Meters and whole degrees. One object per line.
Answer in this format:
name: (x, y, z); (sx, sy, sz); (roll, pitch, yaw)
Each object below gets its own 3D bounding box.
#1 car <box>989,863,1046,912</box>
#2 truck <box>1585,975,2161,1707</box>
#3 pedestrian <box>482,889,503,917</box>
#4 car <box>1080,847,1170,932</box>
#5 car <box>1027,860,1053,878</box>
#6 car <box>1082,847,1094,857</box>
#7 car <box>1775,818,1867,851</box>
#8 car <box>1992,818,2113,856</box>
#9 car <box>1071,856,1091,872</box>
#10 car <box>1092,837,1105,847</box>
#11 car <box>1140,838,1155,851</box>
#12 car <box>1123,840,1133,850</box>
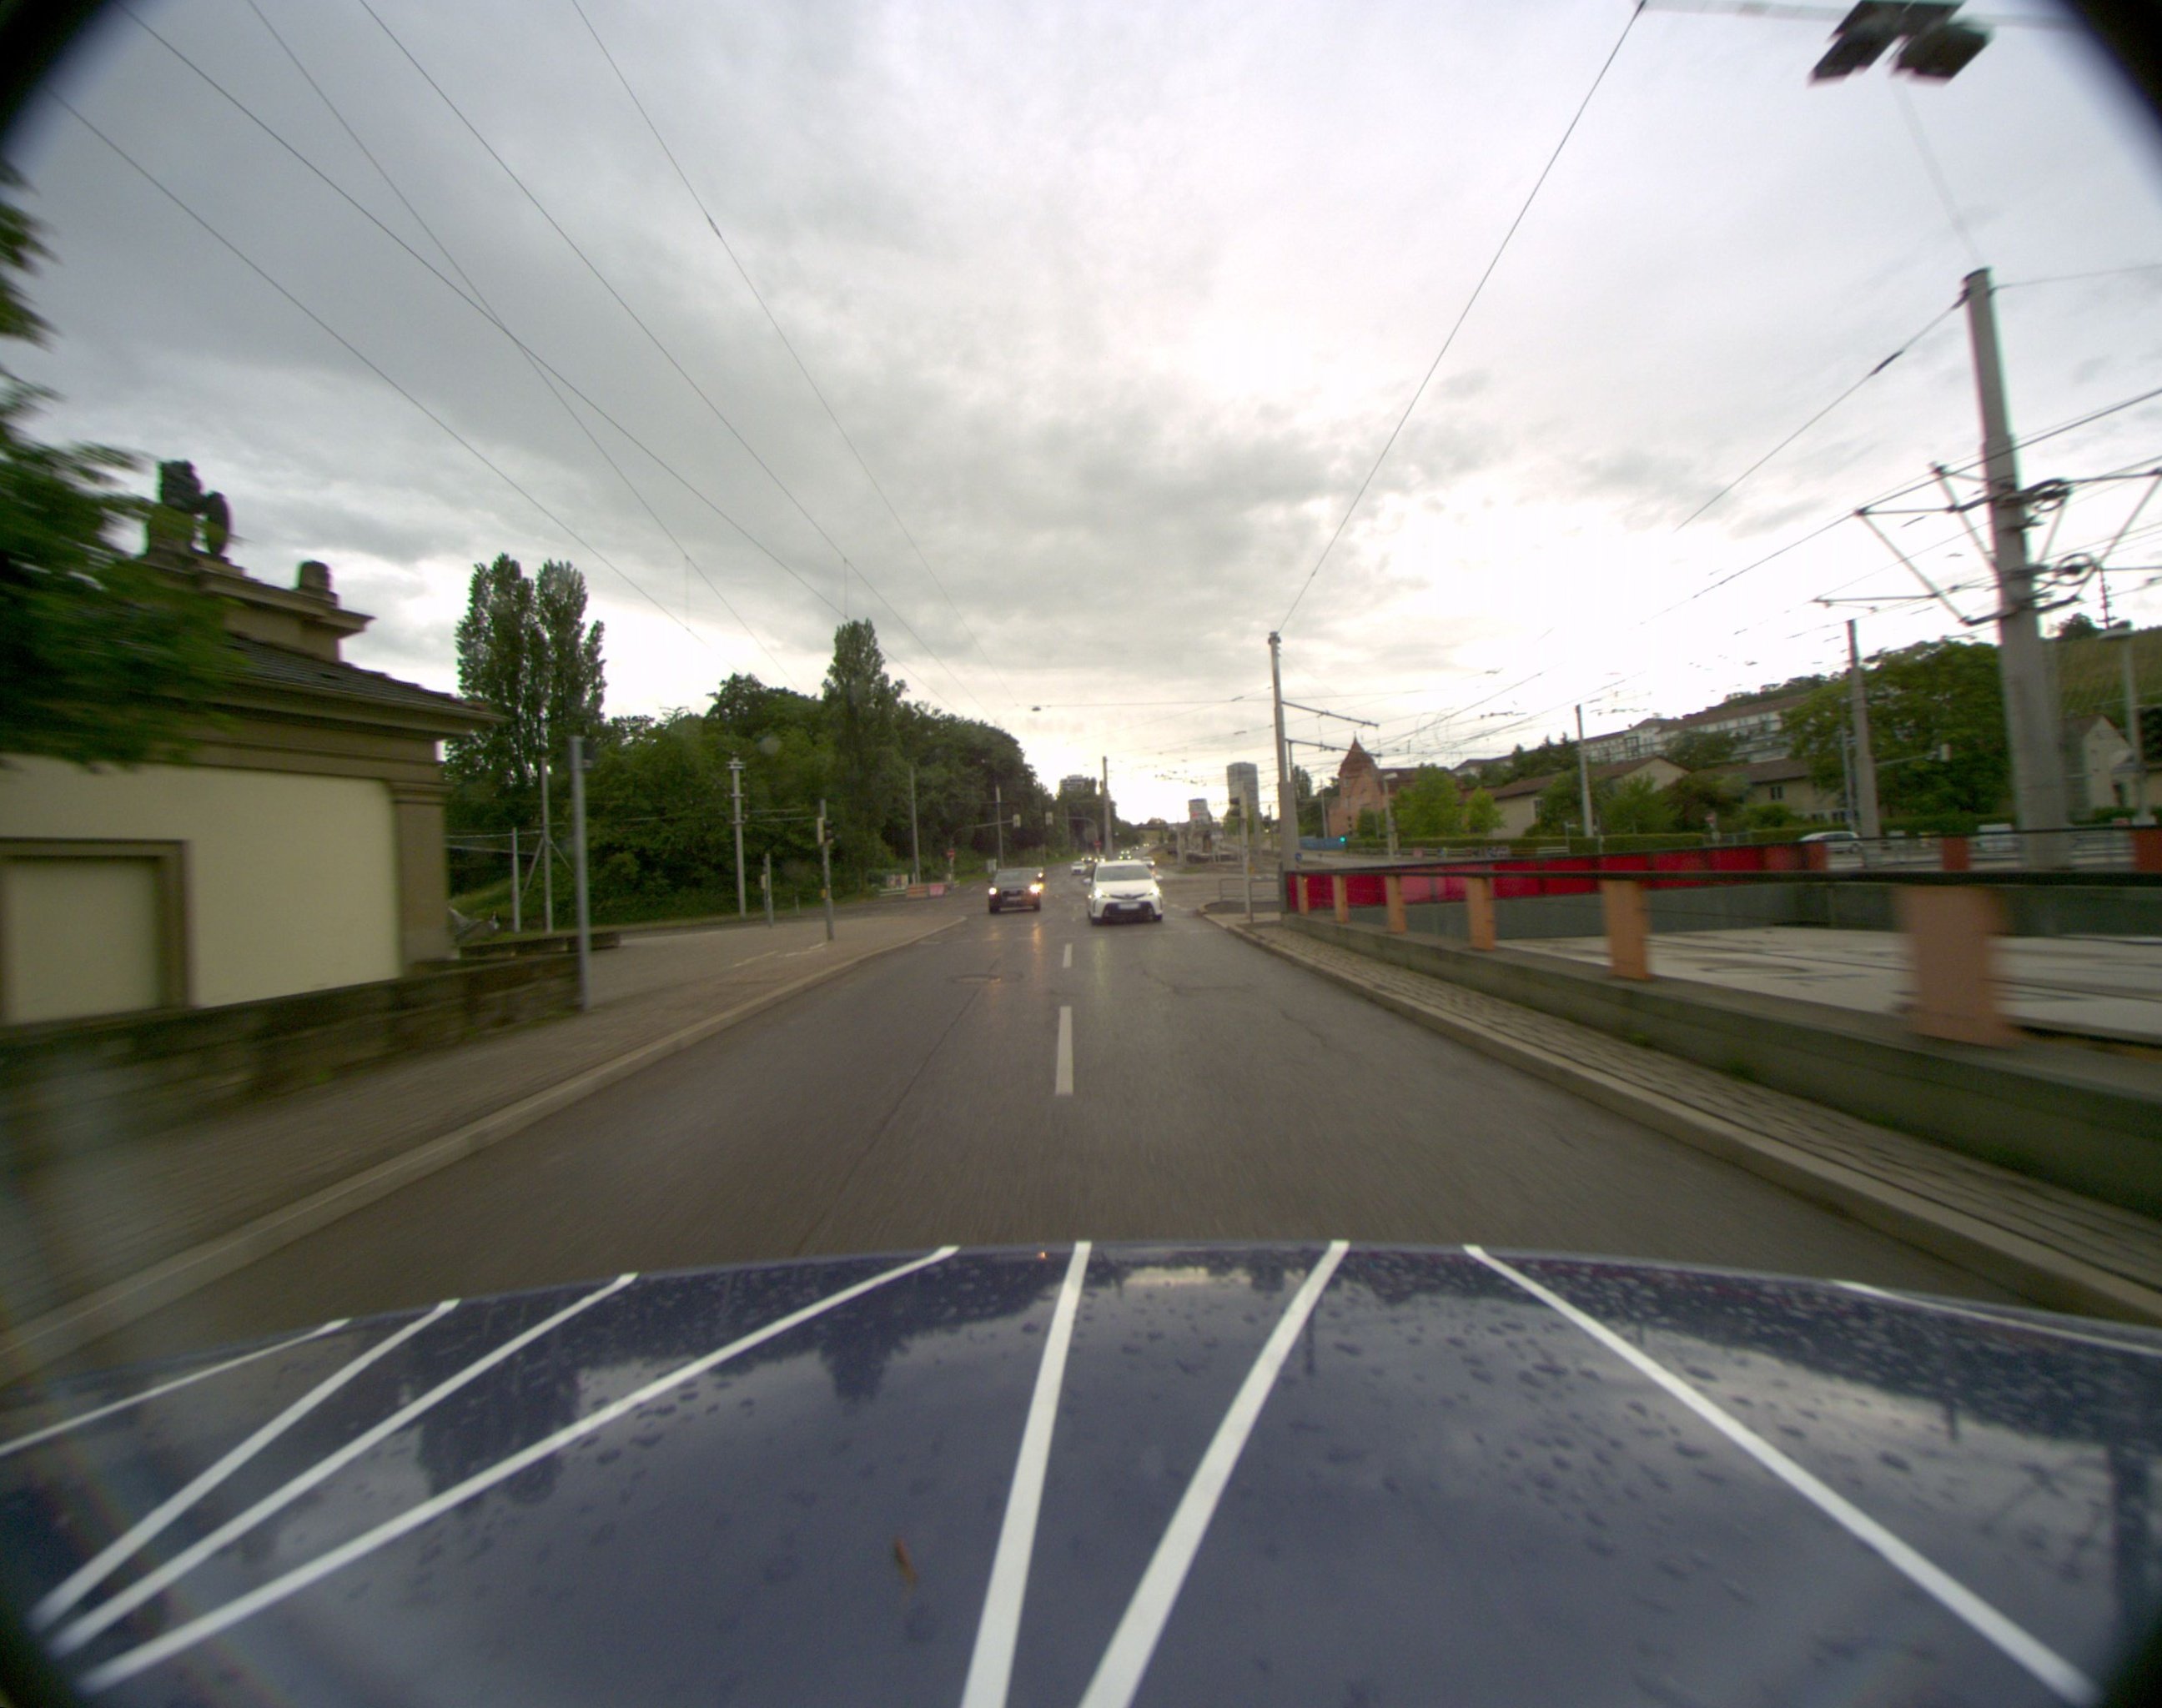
car: (-2.380, 1.241, 27.770); (1.857, 1.577, 3.999); (-3, -2, -7)
truck: (6.544, 3.231, 0.842); (2.770, 4.172, 13.028); (-1, -1, -3)
pedestrian: (-33.996, 2.844, 43.908); (0.655, 1.545, 0.809); (-4, -1, -16)
car: (1.029, 0.819, 18.577); (1.856, 1.740, 4.001); (-4, -1, 2)
car: (-4.106, 1.524, 76.178); (1.738, 1.577, 4.004); (-5, -3, 8)
car: (1.198, -0.365, 133.936); (1.801, 1.463, 4.000); (-2, 2, 4)
car: (49.746, -1.332, 51.167); (3.993, 2.003, 2.001); (-2, 4, 12)
car: (56.829, -1.027, 44.533); (3.993, 2.003, 2.001); (-2, 3, 11)
car: (0.035, 1.176, 91.054); (1.737, 1.579, 4.000); (-2, 2, 8)
car: (2.835, -1.908, 121.373); (1.802, 1.502, 4.000); (-3, -1, -1)
car: (9.093, -1.308, 103.497); (1.737, 1.579, 4.000); (-2, 2, 8)
car: (8.275, -1.570, 133.915); (1.801, 1.463, 3.999); (-2, 2, 3)
